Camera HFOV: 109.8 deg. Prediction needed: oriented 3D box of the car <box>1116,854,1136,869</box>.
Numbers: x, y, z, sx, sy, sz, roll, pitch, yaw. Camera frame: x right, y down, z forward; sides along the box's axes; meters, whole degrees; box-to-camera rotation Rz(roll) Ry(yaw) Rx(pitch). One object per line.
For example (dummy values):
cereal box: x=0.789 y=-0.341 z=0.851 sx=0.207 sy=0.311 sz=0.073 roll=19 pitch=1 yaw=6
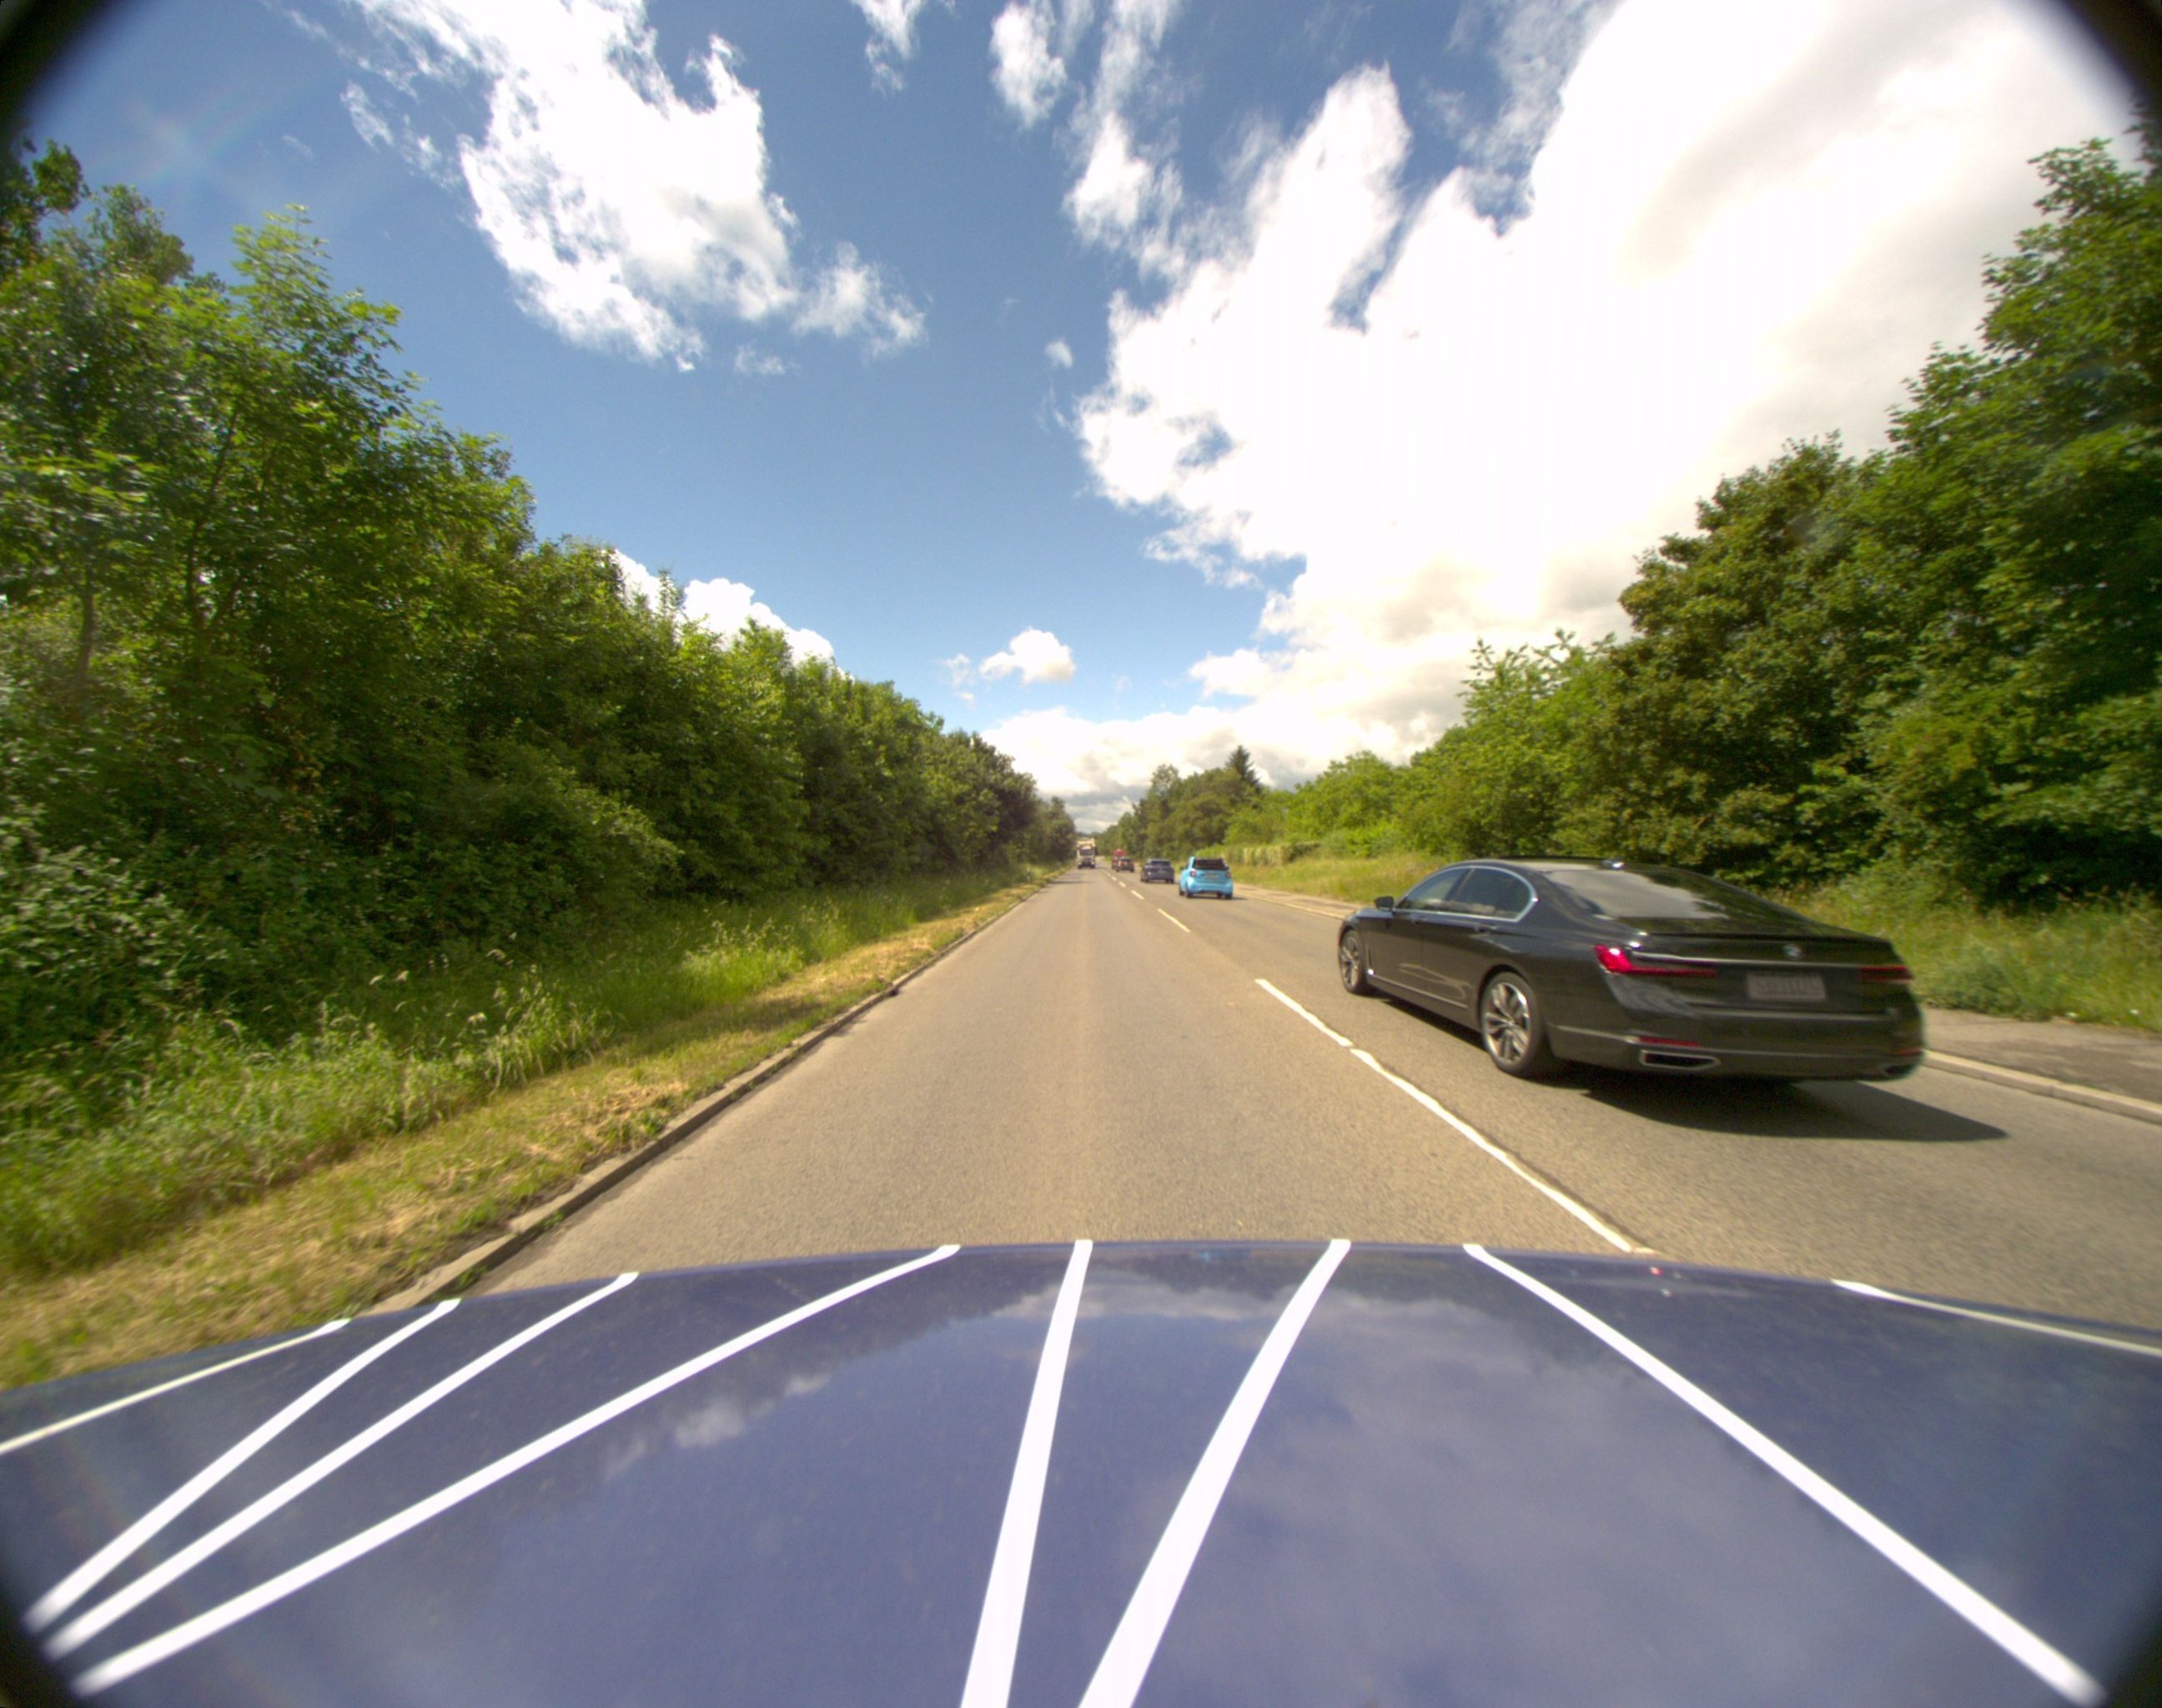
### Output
car: x=4.681 y=0.761 z=79.104 sx=1.720 sy=1.462 sz=4.000 roll=2 pitch=0 yaw=0

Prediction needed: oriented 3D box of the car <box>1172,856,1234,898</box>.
car: x=4.526 y=0.823 z=28.529 sx=1.789 sy=1.438 sz=2.966 roll=1 pitch=0 yaw=-1

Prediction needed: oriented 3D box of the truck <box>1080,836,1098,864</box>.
truck: x=1.056 y=-0.499 z=108.136 sx=2.306 sy=3.790 sz=8.183 roll=-2 pitch=0 yaw=0

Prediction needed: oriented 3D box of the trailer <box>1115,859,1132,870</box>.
trailer: x=5.373 y=1.321 z=95.697 sx=1.896 sy=1.193 sz=3.917 roll=2 pitch=0 yaw=0

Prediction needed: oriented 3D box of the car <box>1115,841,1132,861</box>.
car: x=5.590 y=-0.342 z=100.343 sx=1.974 sy=2.535 sz=4.724 roll=2 pitch=0 yaw=0

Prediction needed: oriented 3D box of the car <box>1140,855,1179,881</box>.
car: x=4.650 y=0.831 z=45.669 sx=1.789 sy=1.438 sz=4.452 roll=1 pitch=0 yaw=-1

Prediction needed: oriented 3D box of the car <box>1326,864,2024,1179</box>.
car: x=3.729 y=0.874 z=6.148 sx=1.889 sy=1.483 sz=4.717 roll=1 pitch=0 yaw=-1
